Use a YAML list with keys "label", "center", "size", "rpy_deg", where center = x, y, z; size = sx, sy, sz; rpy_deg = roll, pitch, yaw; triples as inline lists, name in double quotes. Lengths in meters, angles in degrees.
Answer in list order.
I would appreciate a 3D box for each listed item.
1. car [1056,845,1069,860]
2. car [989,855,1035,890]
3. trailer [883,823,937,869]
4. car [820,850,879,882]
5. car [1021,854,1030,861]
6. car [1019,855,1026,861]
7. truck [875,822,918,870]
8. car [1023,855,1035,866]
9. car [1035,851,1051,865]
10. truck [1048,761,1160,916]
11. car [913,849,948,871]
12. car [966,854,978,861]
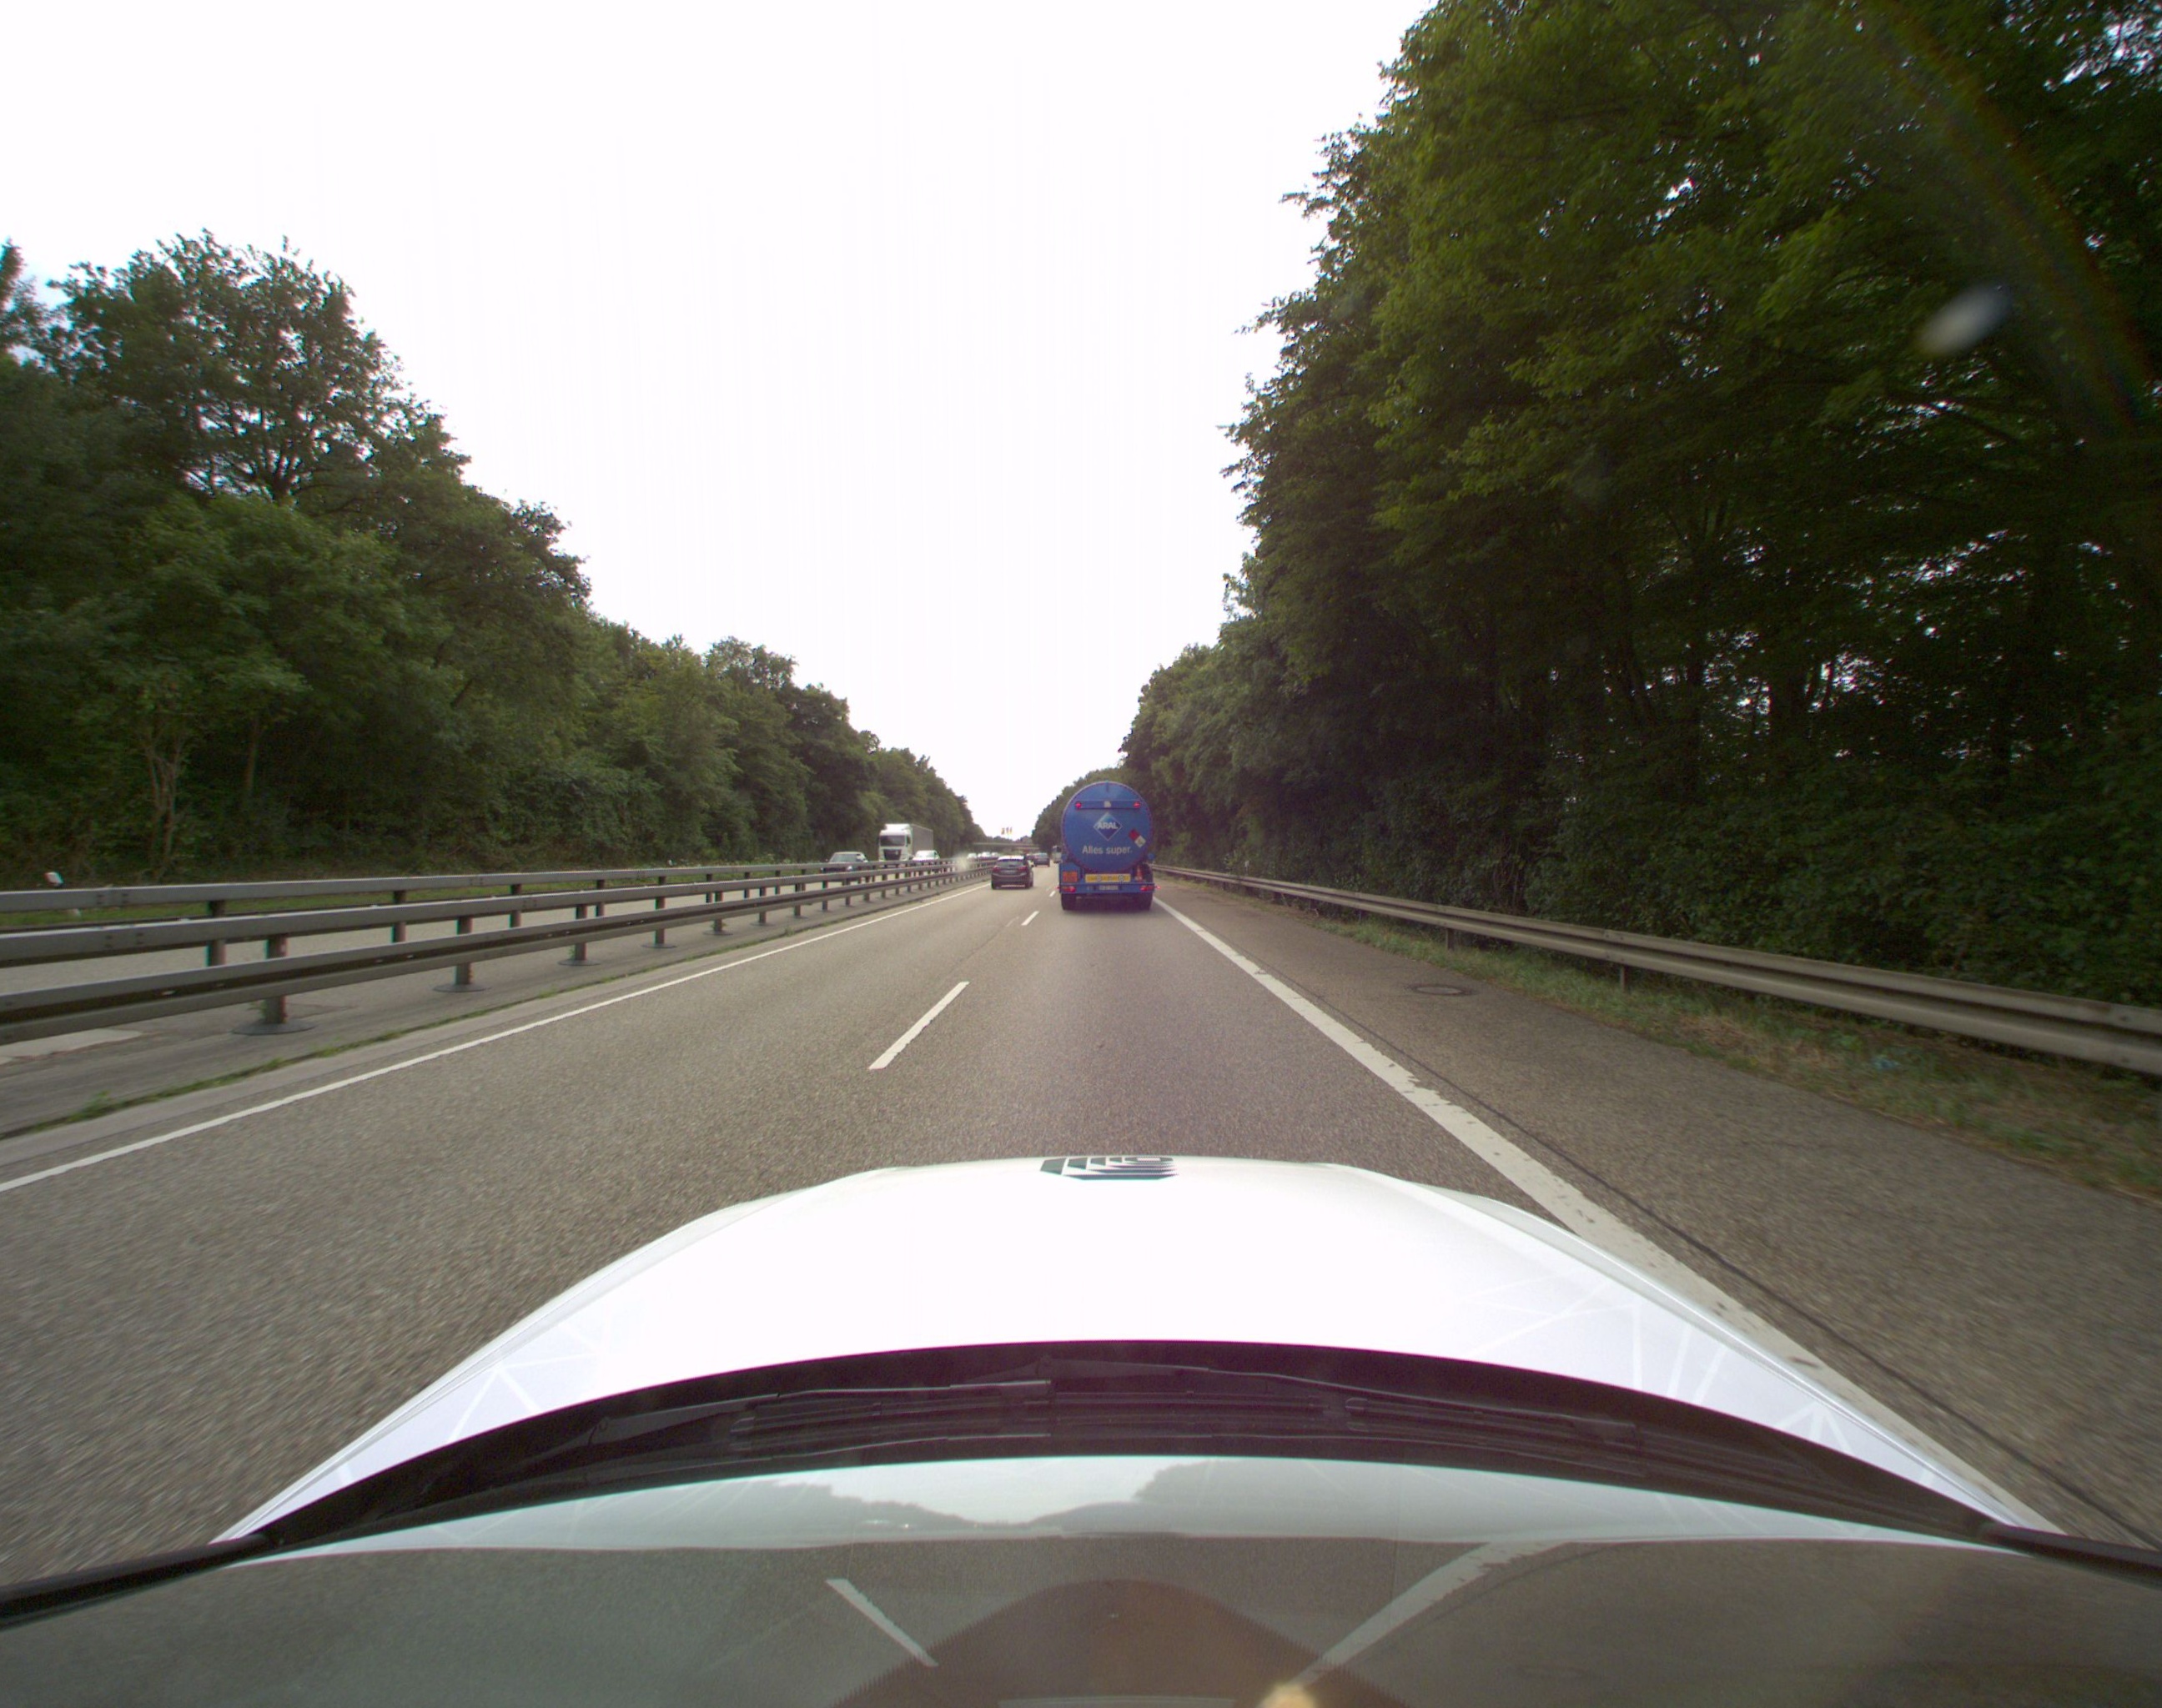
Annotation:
- label: "car"
  center: [-2.925, -0.187, 127.797]
  size: [1.988, 2.244, 3.998]
  rpy_deg: [-1, 0, -1]
- label: "car"
  center: [-3.085, 0.809, 37.331]
  size: [1.821, 1.458, 4.636]
  rpy_deg: [-1, 0, -2]
- label: "trailer"
  center: [-16.424, -0.679, 79.410]
  size: [2.656, 4.046, 12.866]
  rpy_deg: [-1, 0, -1]
- label: "car"
  center: [-11.103, 0.567, 39.297]
  size: [1.703, 1.446, 3.777]
  rpy_deg: [-1, 0, 1]
- label: "car"
  center: [-12.777, 0.862, 187.737]
  size: [1.951, 1.567, 3.994]
  rpy_deg: [-1, 0, -4]
- label: "car"
  center: [-17.841, 1.192, 249.800]
  size: [1.989, 1.552, 3.996]
  rpy_deg: [-1, 0, -2]
- label: "truck"
  center: [-16.320, -0.696, 72.285]
  size: [2.685, 4.063, 5.319]
  rpy_deg: [-1, 0, -1]
- label: "car"
  center: [-9.587, 1.140, 149.658]
  size: [1.990, 2.013, 3.993]
  rpy_deg: [-1, 0, -5]
- label: "car"
  center: [-4.457, 0.432, 96.475]
  size: [1.822, 1.609, 4.162]
  rpy_deg: [-1, 0, -3]
- label: "truck"
  center: [0.722, -0.400, 24.389]
  size: [2.744, 3.846, 7.692]
  rpy_deg: [-1, 0, 2]
- label: "car"
  center: [-11.164, 0.451, 60.821]
  size: [1.786, 1.549, 4.128]
  rpy_deg: [-1, 0, 0]
- label: "car"
  center: [-20.082, 0.661, 150.180]
  size: [1.737, 1.189, 4.289]
  rpy_deg: [-1, 0, -1]
